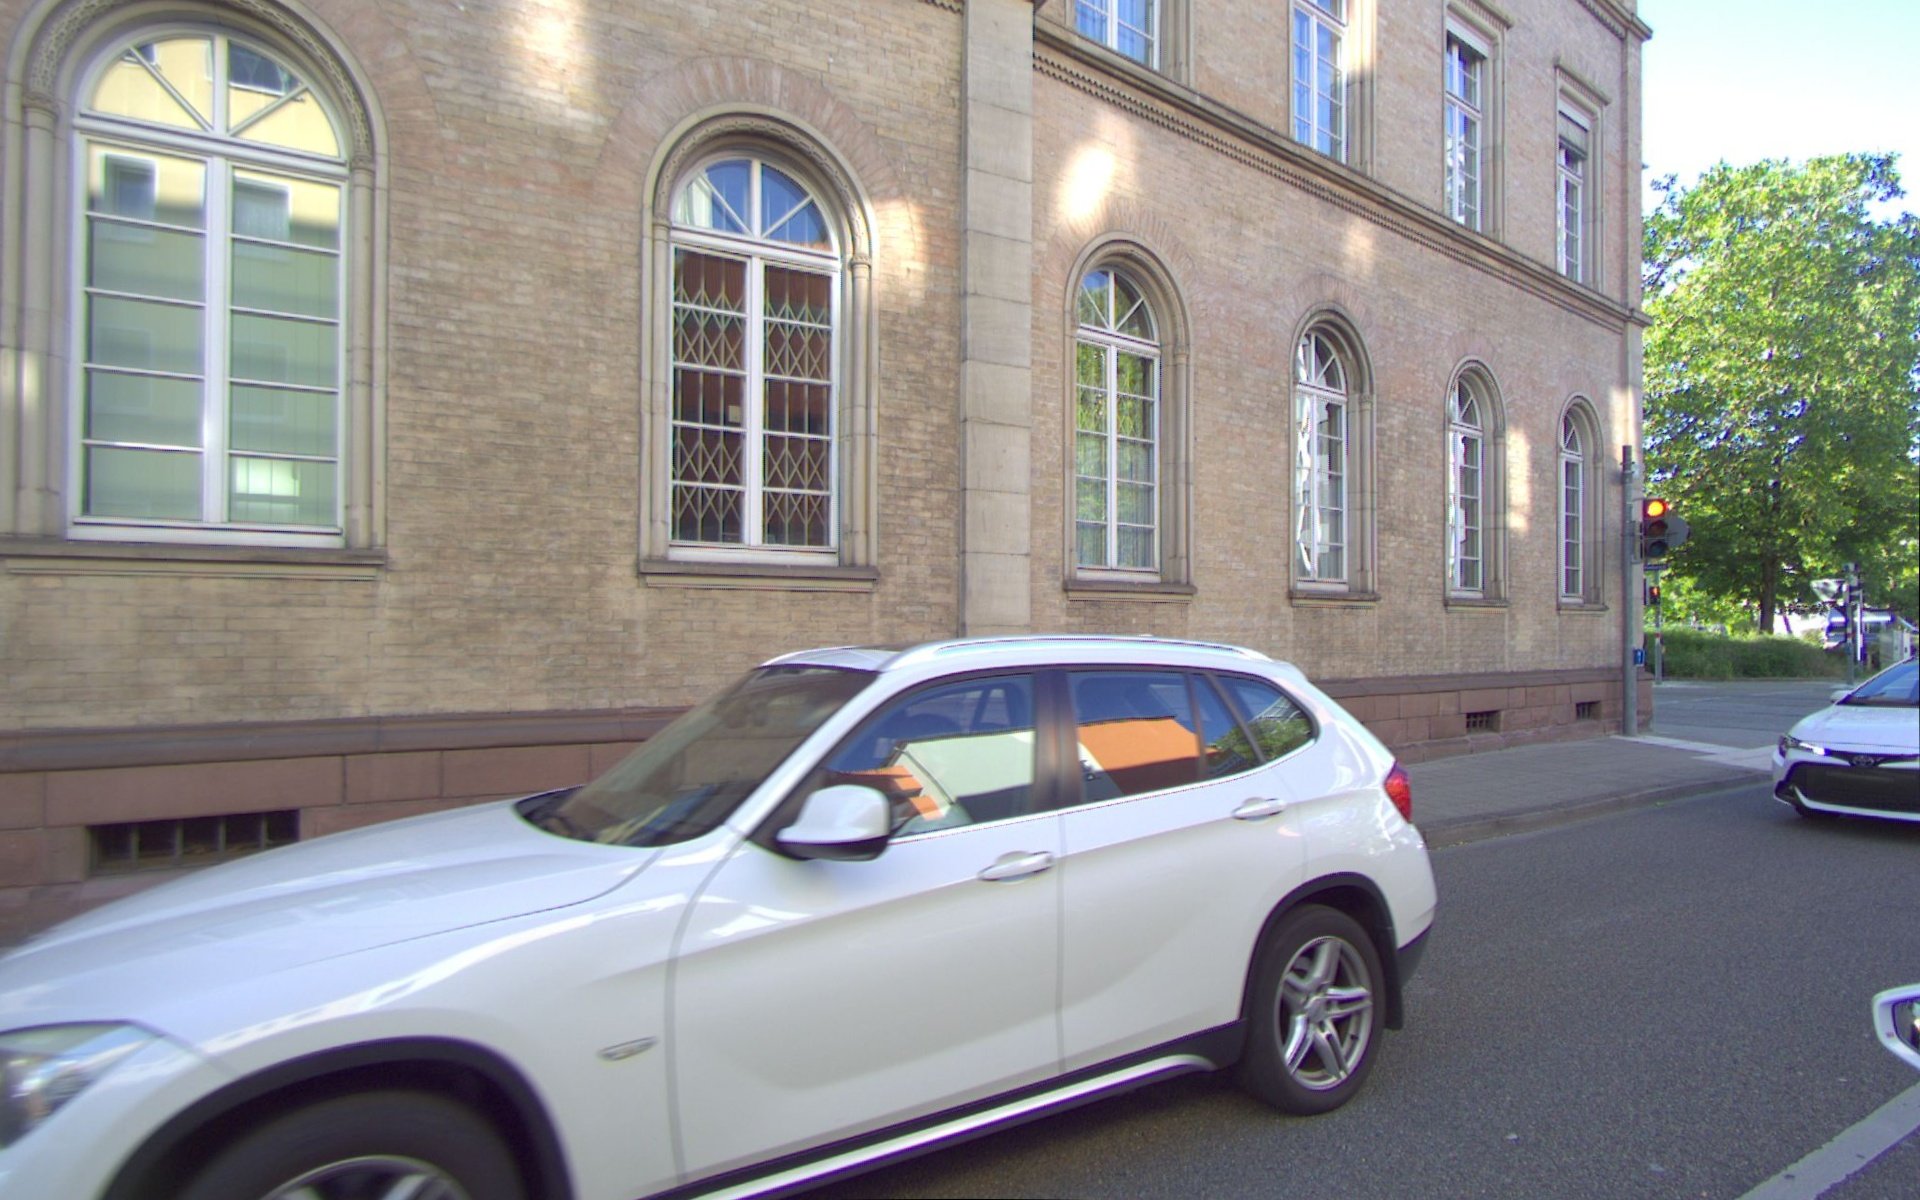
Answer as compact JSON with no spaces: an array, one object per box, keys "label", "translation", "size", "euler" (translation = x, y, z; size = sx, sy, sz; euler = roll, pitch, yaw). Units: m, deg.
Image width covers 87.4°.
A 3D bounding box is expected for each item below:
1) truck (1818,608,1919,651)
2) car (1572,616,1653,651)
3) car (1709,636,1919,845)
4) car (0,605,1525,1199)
[{"label":"truck","translation":[53.758,1.672,59.066],"size":[2.069,2.431,4.790],"euler":[1,-1,-39]},{"label":"car","translation":[47.832,2.483,73.719],"size":[2.056,2.423,4.521],"euler":[2,-3,-38]},{"label":"car","translation":[8.793,1.062,8.477],"size":[4.478,1.495,1.884],"euler":[1,-4,-22]},{"label":"car","translation":[-0.205,0.890,3.324],"size":[4.224,1.603,1.678],"euler":[1,-4,-30]}]
